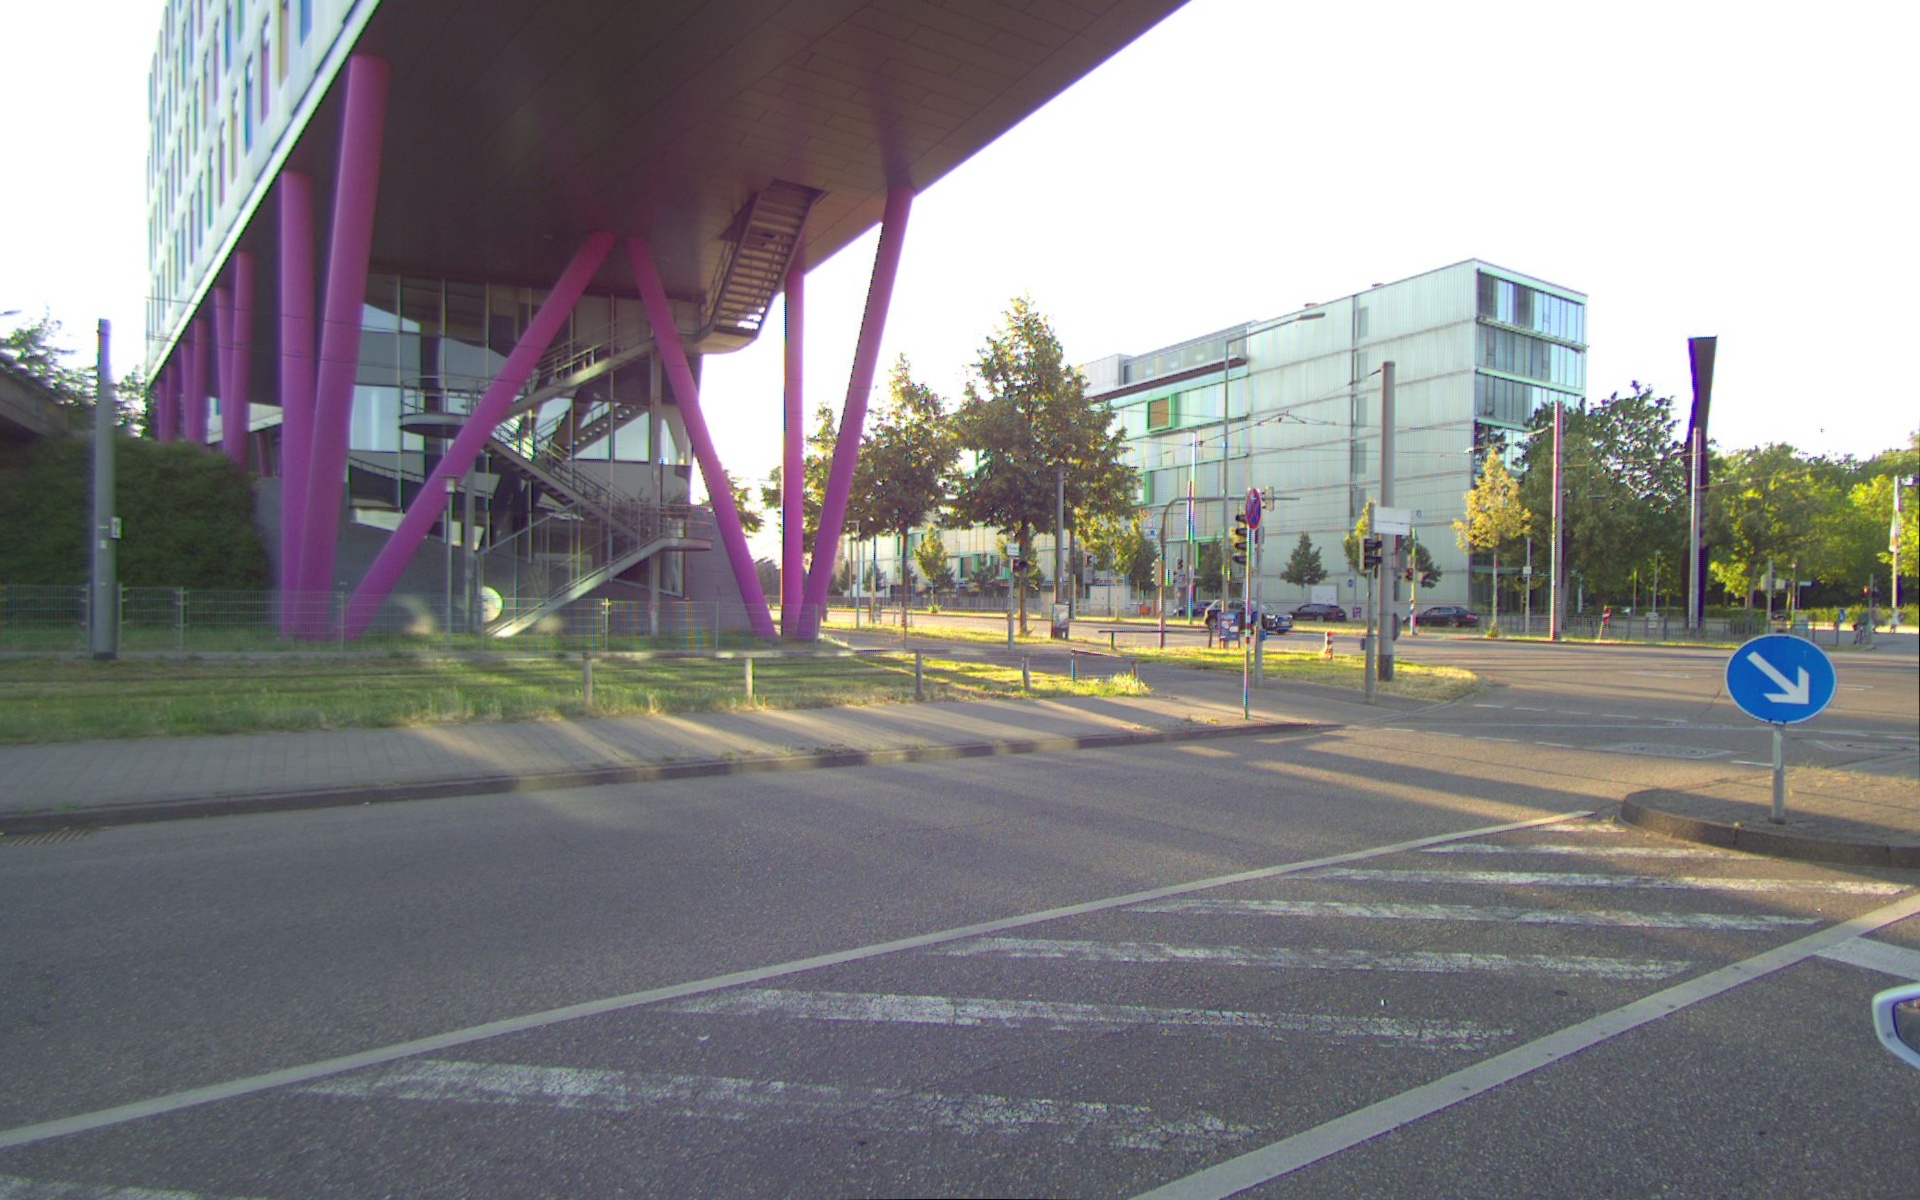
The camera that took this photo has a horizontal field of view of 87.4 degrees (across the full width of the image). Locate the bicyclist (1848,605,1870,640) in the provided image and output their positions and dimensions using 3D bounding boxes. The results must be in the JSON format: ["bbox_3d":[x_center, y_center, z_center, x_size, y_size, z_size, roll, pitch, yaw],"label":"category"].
[{"bbox_3d":[45.065,1.136,50.339,0.741,1.732,0.916,1,0,38],"label":"bicyclist"}]

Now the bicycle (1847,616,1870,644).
[{"bbox_3d":[45.271,1.486,50.636,0.721,1.359,2.678,1,0,40],"label":"bicycle"}]

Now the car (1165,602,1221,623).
[{"bbox_3d":[18.904,0.986,81.545,1.975,1.572,4.454,2,-1,-28],"label":"car"}]

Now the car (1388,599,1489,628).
[{"bbox_3d":[28.202,0.792,59.436,1.977,1.572,5.200,2,-1,-30],"label":"car"}]

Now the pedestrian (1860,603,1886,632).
[{"bbox_3d":[56.818,1.102,62.543,0.813,1.767,0.863,1,0,3],"label":"pedestrian"}]

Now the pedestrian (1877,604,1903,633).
[{"bbox_3d":[57.763,1.146,62.403,0.813,1.767,0.863,1,0,9],"label":"pedestrian"}]

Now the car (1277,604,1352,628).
[{"bbox_3d":[25.566,1.149,72.600,1.977,1.572,5.075,2,-1,-30],"label":"car"}]

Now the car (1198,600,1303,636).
[{"bbox_3d":[13.295,0.797,46.200,1.968,1.577,4.448,1,0,-34],"label":"car"}]

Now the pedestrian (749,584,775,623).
[{"bbox_3d":[-9.119,0.162,46.224,0.922,1.747,0.876,1,-2,-30],"label":"pedestrian"}]
